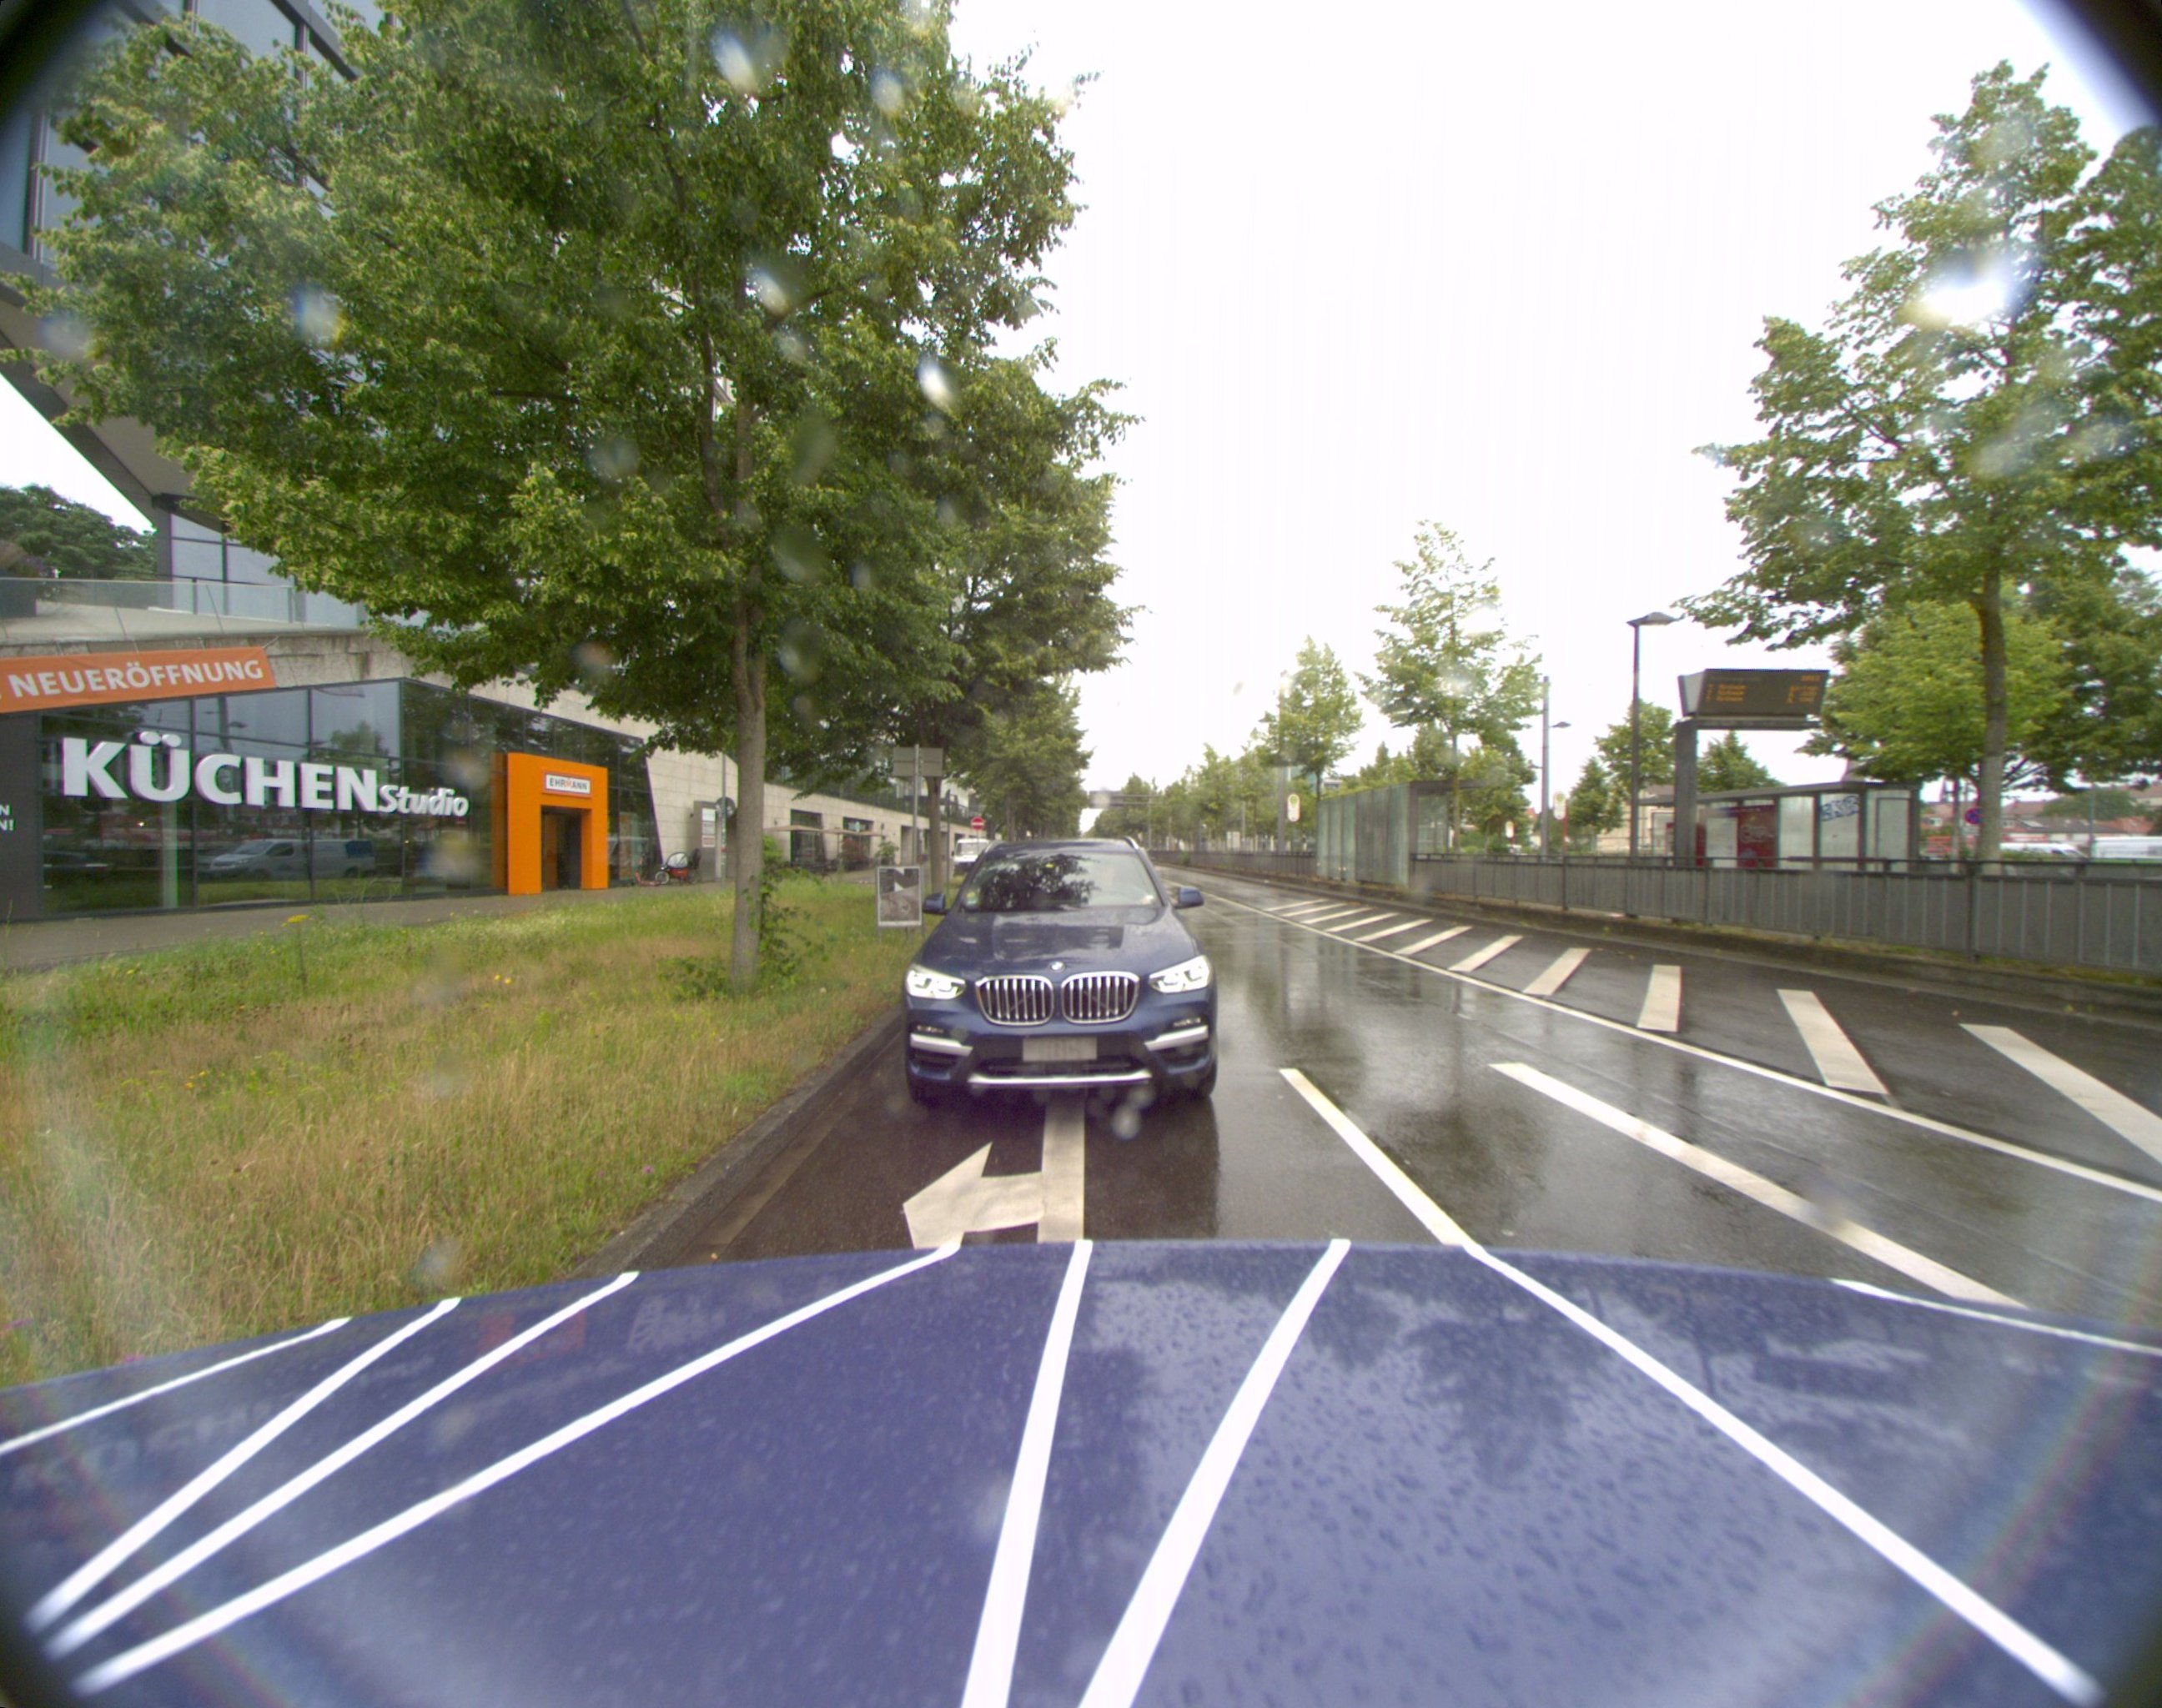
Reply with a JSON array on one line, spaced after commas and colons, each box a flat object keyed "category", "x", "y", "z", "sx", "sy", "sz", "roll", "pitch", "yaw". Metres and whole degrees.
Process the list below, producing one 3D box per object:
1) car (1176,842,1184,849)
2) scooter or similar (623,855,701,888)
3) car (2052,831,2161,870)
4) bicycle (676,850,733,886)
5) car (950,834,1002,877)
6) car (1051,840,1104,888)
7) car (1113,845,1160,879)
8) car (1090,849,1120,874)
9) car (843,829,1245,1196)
[{"category": "car", "x": 27.947, "y": -2.328, "z": 214.849, "sx": 1.998, "sy": 2.002, "sz": 4.000, "roll": -2, "pitch": 1, "yaw": 2}, {"category": "scooter or similar", "x": -15.536, "y": 0.629, "z": 28.264, "sx": 0.810, "sy": 1.093, "sz": 2.617, "roll": -2, "pitch": 1, "yaw": 18}, {"category": "car", "x": 70.130, "y": -0.267, "z": 50.021, "sx": 2.356, "sy": 2.462, "sz": 7.636, "roll": -2, "pitch": 1, "yaw": -3}, {"category": "bicycle", "x": -15.377, "y": 0.533, "z": 31.116, "sx": 0.882, "sy": 1.339, "sz": 2.696, "roll": -2, "pitch": 1, "yaw": 1}, {"category": "car", "x": -5.899, "y": 0.050, "z": 43.330, "sx": 2.084, "sy": 2.189, "sz": 5.097, "roll": -2, "pitch": 1, "yaw": 1}, {"category": "car", "x": -0.094, "y": 0.329, "z": 28.608, "sx": 1.788, "sy": 1.638, "sz": 3.999, "roll": -2, "pitch": 1, "yaw": 1}, {"category": "car", "x": 2.663, "y": 0.347, "z": 37.549, "sx": 1.788, "sy": 1.509, "sz": 4.331, "roll": -2, "pitch": 1, "yaw": -2}, {"category": "car", "x": 1.523, "y": 0.444, "z": 49.194, "sx": 1.788, "sy": 1.450, "sz": 4.315, "roll": -2, "pitch": 1, "yaw": 1}, {"category": "car", "x": -0.154, "y": 0.816, "z": 5.932, "sx": 1.916, "sy": 1.736, "sz": 4.384, "roll": -2, "pitch": -1, "yaw": 1}]
